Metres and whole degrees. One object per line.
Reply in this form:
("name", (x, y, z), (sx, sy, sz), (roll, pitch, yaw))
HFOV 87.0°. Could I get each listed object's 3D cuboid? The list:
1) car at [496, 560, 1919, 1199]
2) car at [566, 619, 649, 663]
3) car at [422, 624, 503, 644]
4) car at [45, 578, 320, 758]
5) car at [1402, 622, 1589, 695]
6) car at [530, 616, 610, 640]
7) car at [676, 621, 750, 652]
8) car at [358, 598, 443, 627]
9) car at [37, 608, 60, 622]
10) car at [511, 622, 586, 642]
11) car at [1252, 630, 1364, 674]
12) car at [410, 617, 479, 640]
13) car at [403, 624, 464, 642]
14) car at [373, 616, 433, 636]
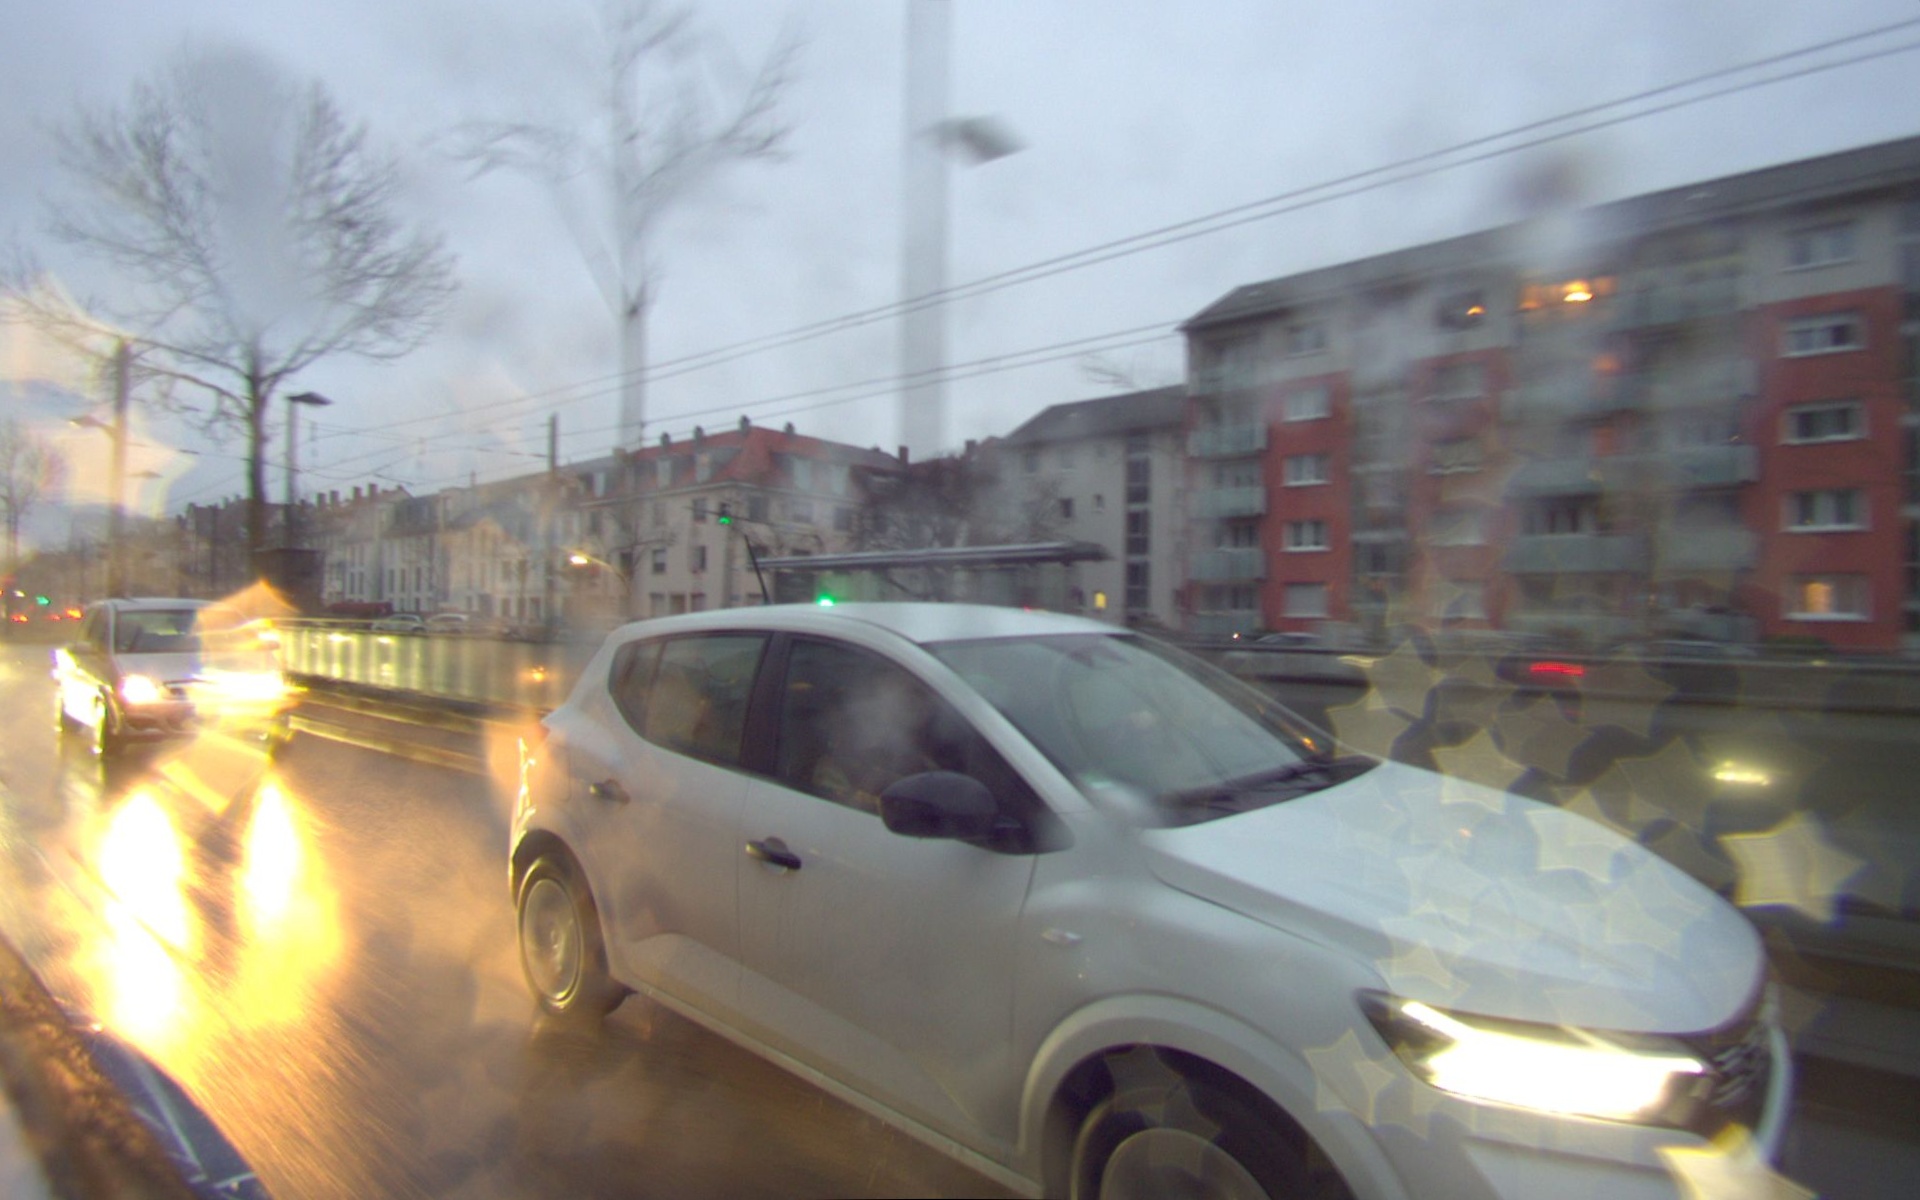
("car", (0.255, 0.682, 3.109), (4.001, 1.477, 1.689), (0, 0, 43))
("car", (-14.306, 1.623, 41.017), (3.748, 1.651, 1.506), (0, -1, 41))
("car", (-31.000, 2.103, 63.154), (4.331, 1.140, 1.251), (1, 0, -15))
("car", (-9.057, 0.631, 11.662), (4.002, 1.690, 1.993), (0, 0, 45))
("car", (11.715, 1.224, 22.244), (3.374, 1.368, 1.570), (0, 0, 42))
("car", (-21.209, 1.514, 55.183), (3.932, 1.265, 1.448), (0, 0, -16))
("car", (-12.152, 1.760, 49.625), (3.997, 1.378, 1.500), (0, 0, 40))
("car", (-45.359, 0.995, 82.186), (5.809, 2.271, 1.827), (0, 0, -16))
("car", (-135.419, 2.243, 150.391), (3.995, 2.029, 1.974), (0, 0, 39))
("car", (-24.164, 1.866, 59.571), (3.933, 1.140, 1.365), (0, 0, -14))
("car", (10.091, 1.485, 29.433), (2.855, 1.108, 1.247), (0, 0, 45))
("car", (-34.463, 1.902, 67.760), (3.946, 1.516, 1.317), (0, 0, -14))
("car", (-33.919, 2.135, 65.269), (3.259, 1.140, 1.317), (1, -2, -15))
("car", (-39.732, 1.858, 72.253), (3.547, 1.395, 1.317), (0, -2, -19))
